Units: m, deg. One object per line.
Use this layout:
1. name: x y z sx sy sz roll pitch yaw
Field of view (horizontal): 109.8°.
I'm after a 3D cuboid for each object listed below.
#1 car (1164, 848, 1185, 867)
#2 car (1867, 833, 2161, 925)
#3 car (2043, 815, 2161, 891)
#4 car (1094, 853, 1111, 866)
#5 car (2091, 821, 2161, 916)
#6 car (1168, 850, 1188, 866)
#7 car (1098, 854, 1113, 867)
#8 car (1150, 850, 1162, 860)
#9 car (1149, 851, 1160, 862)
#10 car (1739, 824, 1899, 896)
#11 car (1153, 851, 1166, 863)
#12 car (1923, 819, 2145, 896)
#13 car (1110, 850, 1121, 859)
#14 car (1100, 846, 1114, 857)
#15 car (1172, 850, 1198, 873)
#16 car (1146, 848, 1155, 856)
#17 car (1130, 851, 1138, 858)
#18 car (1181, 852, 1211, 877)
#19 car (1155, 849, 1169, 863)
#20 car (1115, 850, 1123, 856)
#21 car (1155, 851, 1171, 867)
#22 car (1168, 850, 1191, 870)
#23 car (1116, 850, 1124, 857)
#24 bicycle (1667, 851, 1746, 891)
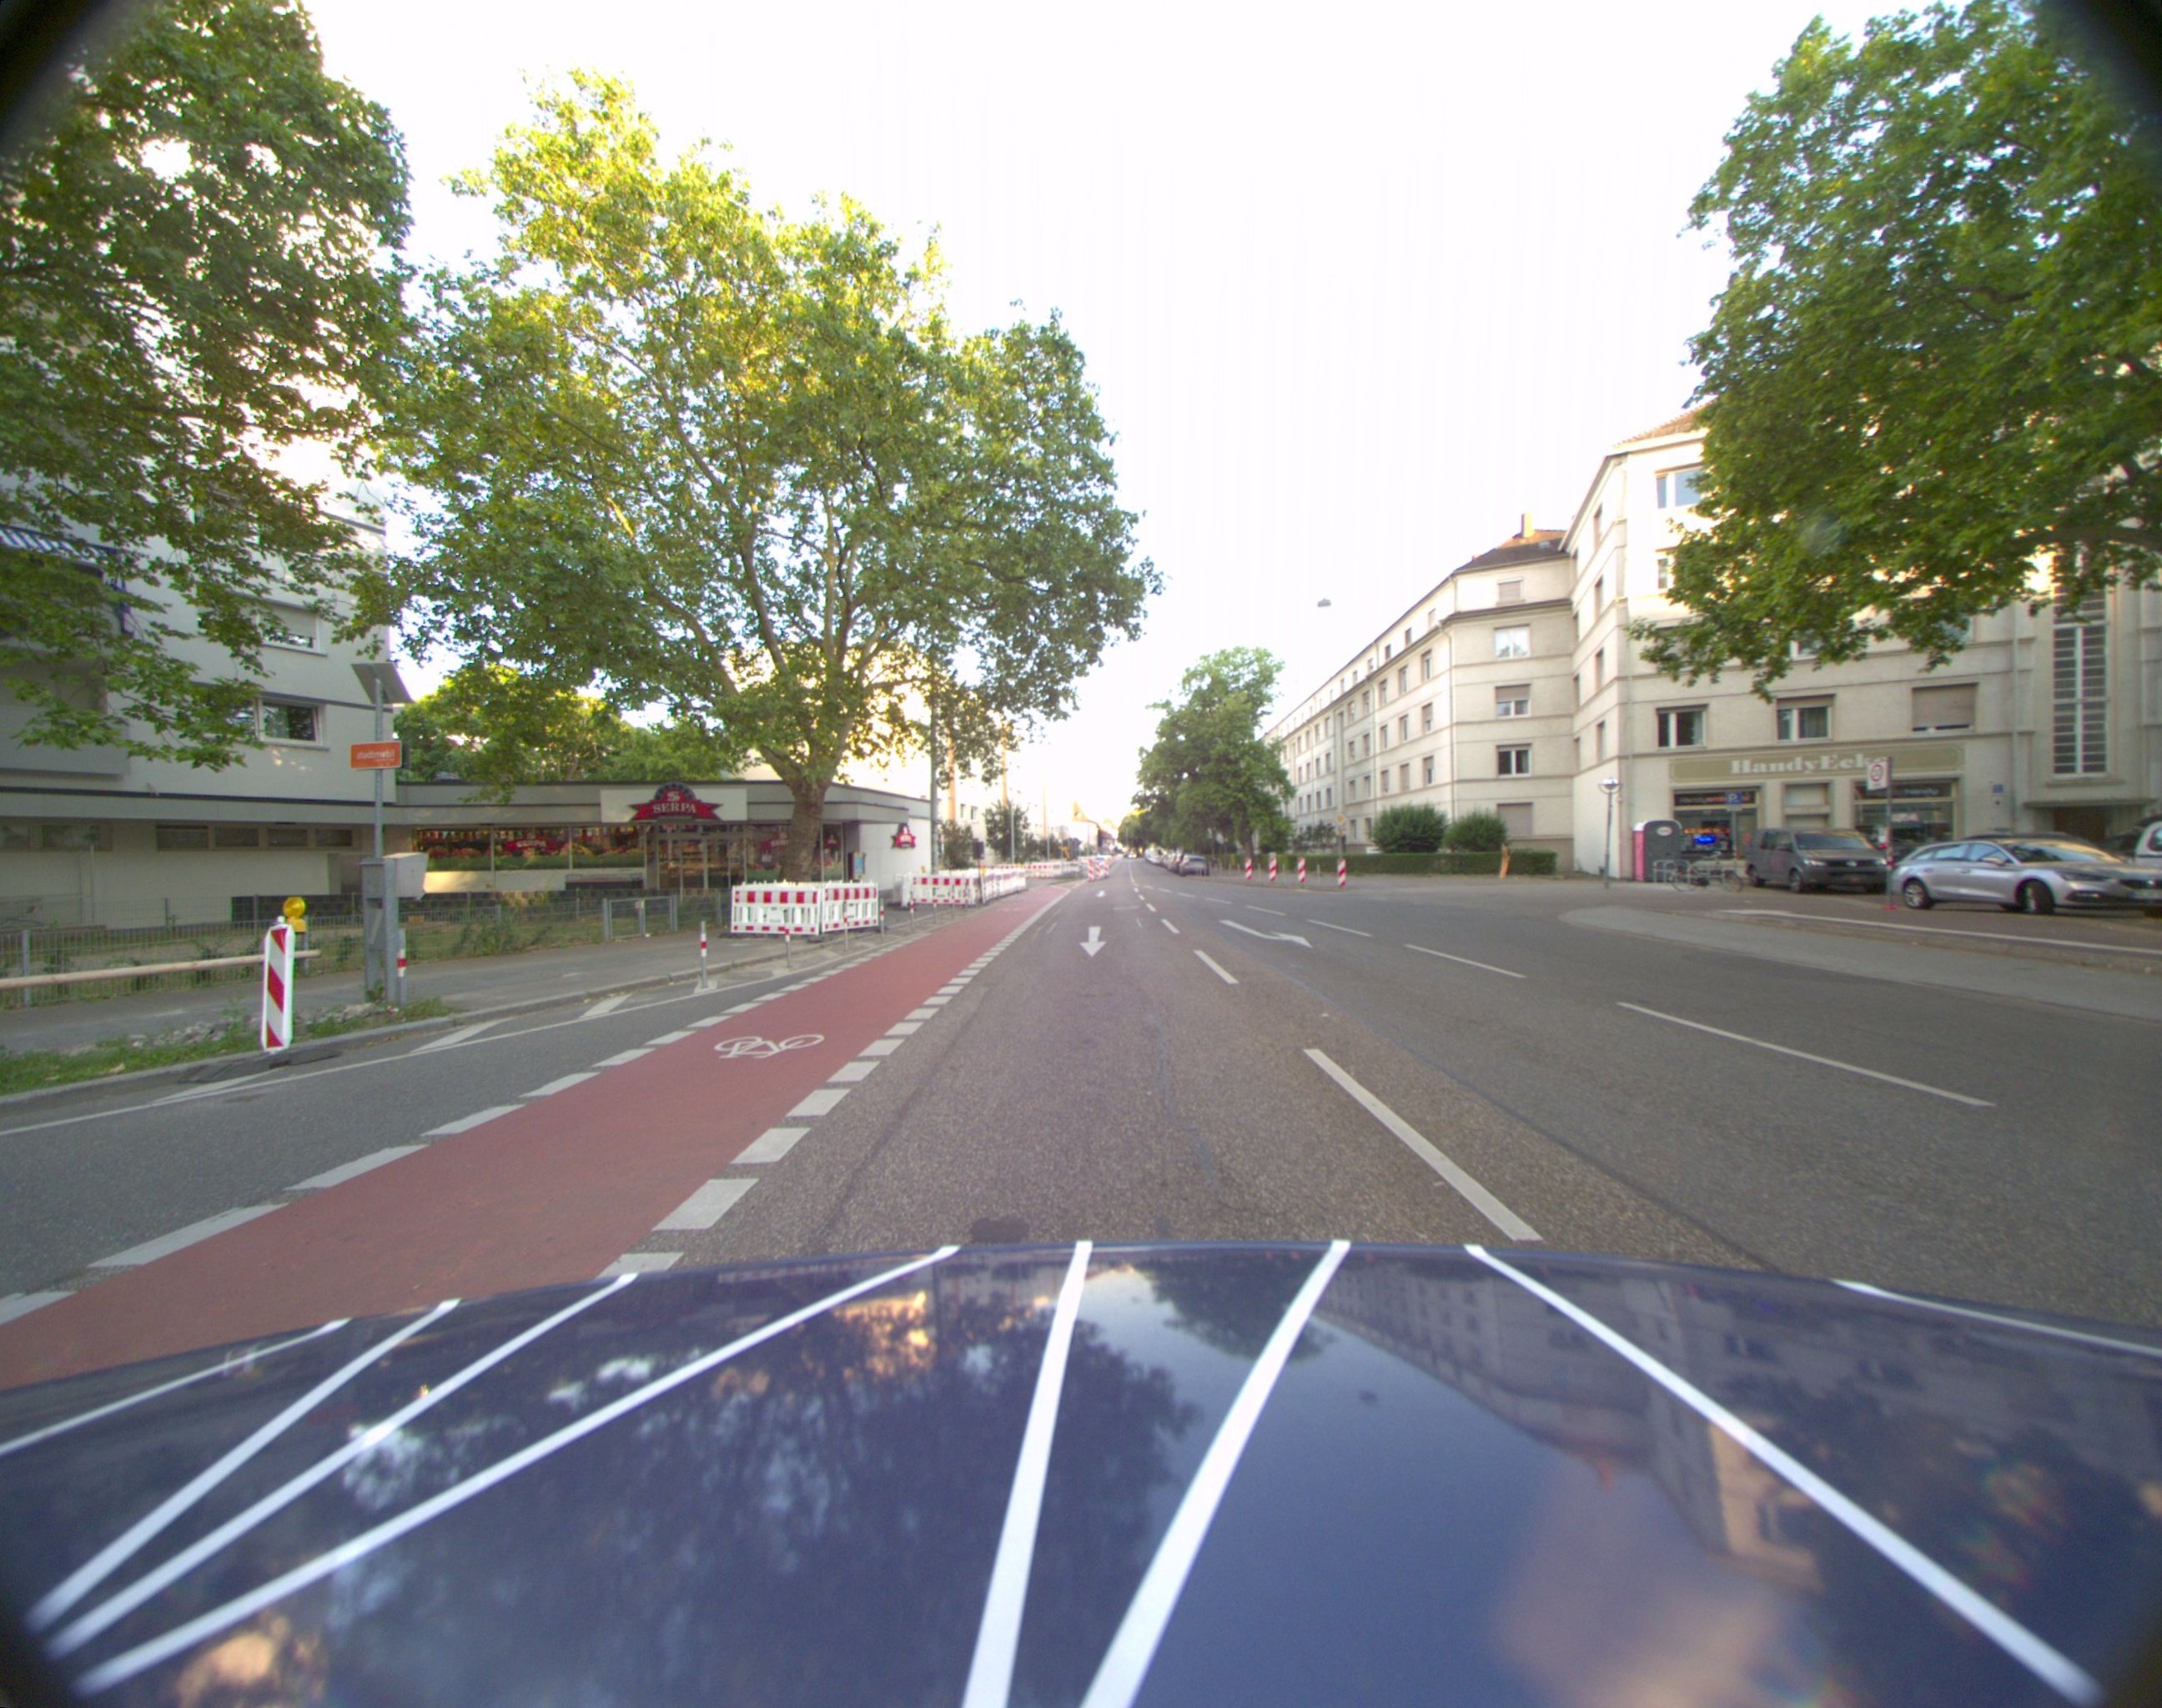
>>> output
1. car: 9.277 0.329 75.411 1.892 1.764 4.260 -2 1 6
2. car: 18.132 0.438 14.674 1.996 1.494 4.647 0 -1 15
3. car: 29.616 -0.086 20.830 1.995 1.945 4.646 0 3 23
4. car: 2.880 0.728 101.036 1.892 1.591 4.260 -2 1 6
5. car: 20.718 0.263 12.993 1.995 1.771 4.649 0 -1 21
6. car: 10.282 0.385 80.925 1.892 1.591 4.260 -2 1 6
7. car: 3.689 0.901 113.323 1.892 1.726 4.260 -2 1 6
8. car: 13.128 0.125 132.797 1.892 1.591 4.260 -2 1 6
9. car: 13.851 0.521 143.148 1.892 1.868 4.946 -2 1 6
10. car: 22.612 0.090 23.556 1.995 1.945 4.646 0 3 23
11. car: 12.113 0.457 117.875 1.892 1.591 4.260 -2 1 6
12. car: 27.119 -0.011 21.918 1.995 1.945 4.646 0 3 23
13. car: 7.152 0.063 156.220 1.892 1.591 4.260 -2 1 6
14. car: 4.178 -0.379 121.836 1.892 1.651 4.260 -2 1 6
15. car: 8.451 0.592 62.127 1.892 1.681 4.260 -2 1 6
16. car: 15.189 -0.519 166.081 1.892 1.591 4.260 -2 1 6
17. car: 15.016 0.184 214.467 1.998 1.838 3.999 -2 1 1
18. car: 8.121 0.728 53.934 1.892 1.591 4.001 -2 1 6
19. car: 11.544 0.294 108.203 1.892 1.855 4.260 -2 1 6
20. car: 9.759 -0.296 196.470 1.892 1.591 4.260 -2 1 6
21. car: 10.693 0.624 99.238 1.892 1.815 4.260 -2 1 6
22. car: 9.006 0.542 69.465 1.892 1.591 4.260 -2 1 6
23. car: 10.573 -0.155 205.688 1.892 1.591 4.260 -2 1 6
24. bicycle: 19.401 0.537 23.614 1.802 1.199 0.648 -1 2 33
